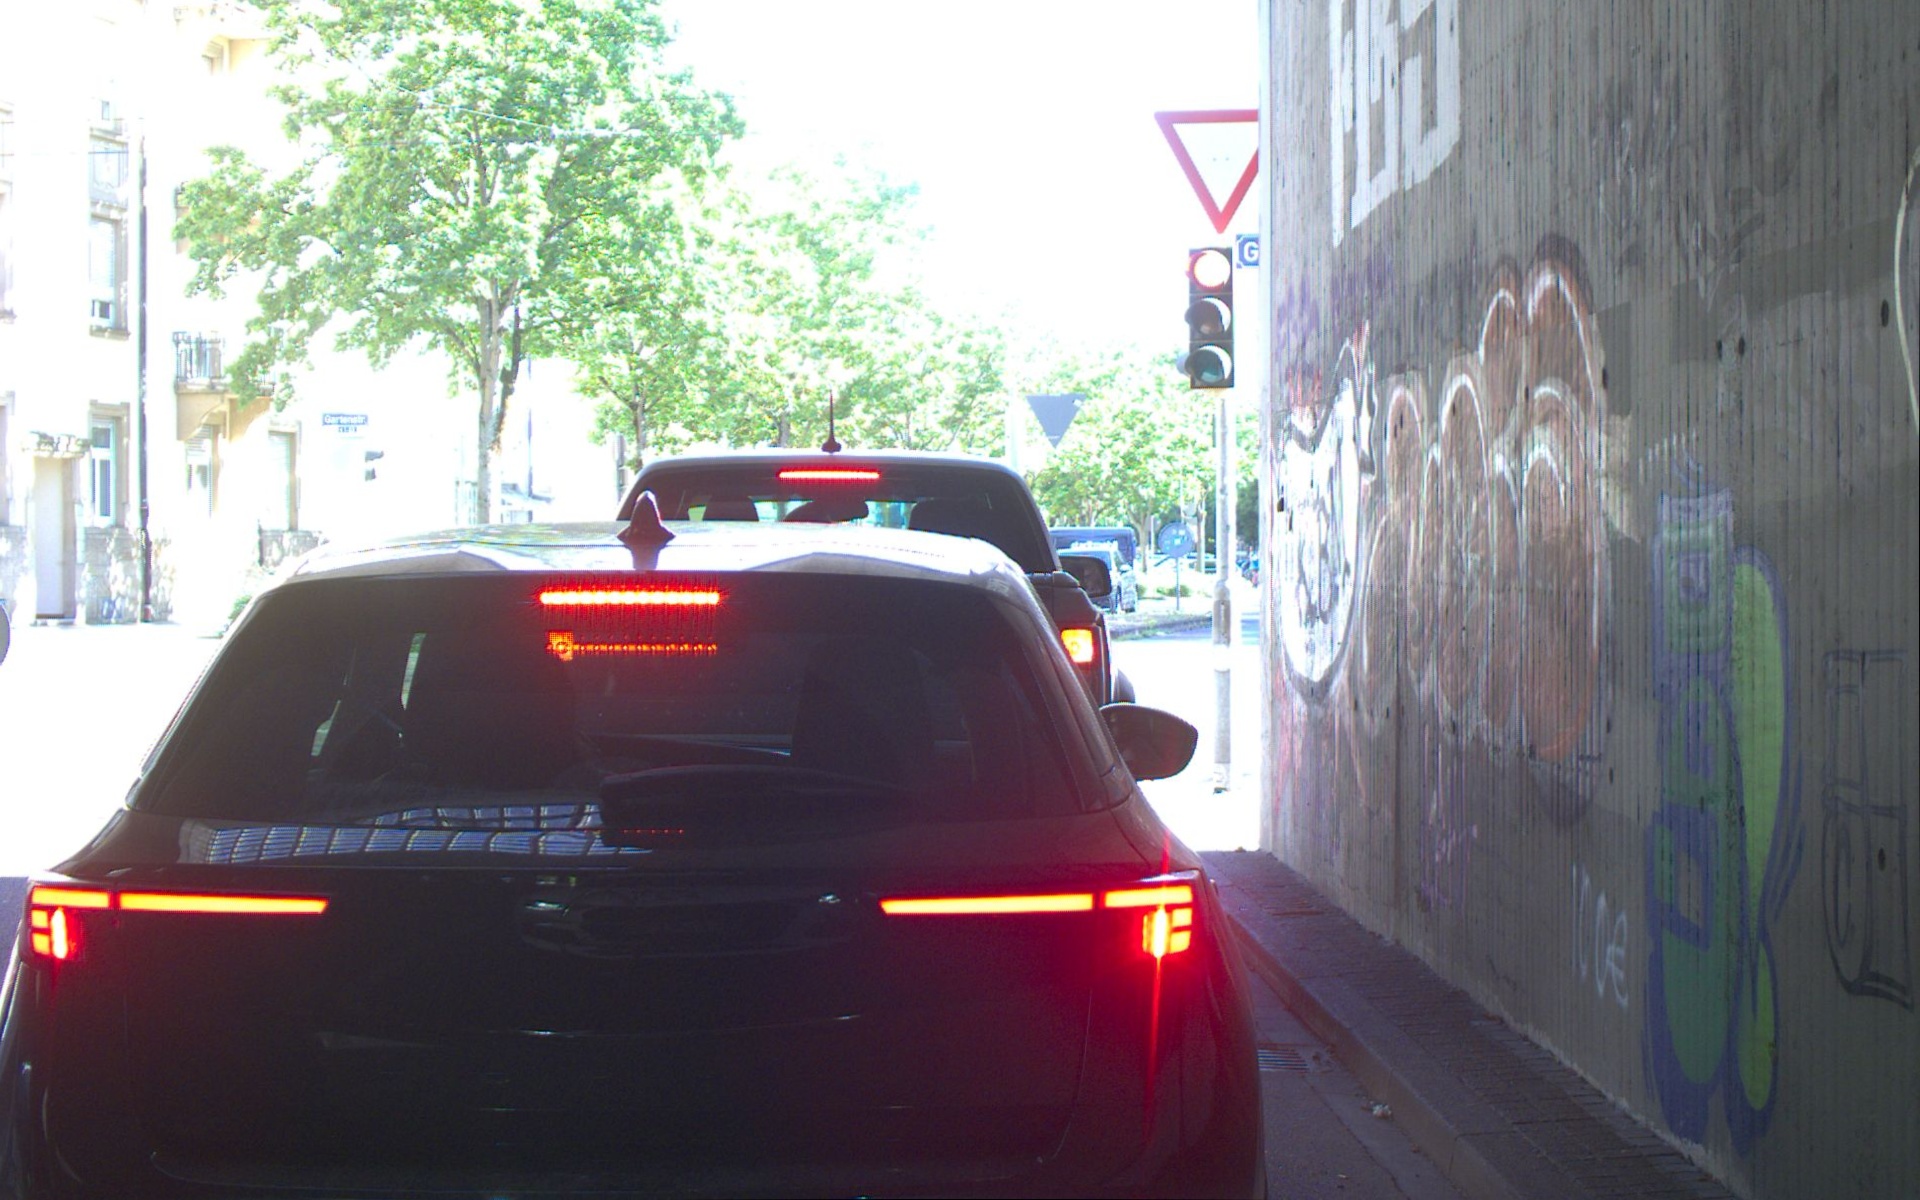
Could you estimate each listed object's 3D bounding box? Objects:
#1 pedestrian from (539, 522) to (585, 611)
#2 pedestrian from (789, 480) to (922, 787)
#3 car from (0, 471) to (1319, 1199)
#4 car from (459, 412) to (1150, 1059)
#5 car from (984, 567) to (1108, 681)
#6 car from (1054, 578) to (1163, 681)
[{"bbox_3d":[-9.421,-0.797,81.370,0.892,2.080,0.808,1,0,7],"label":"pedestrian"},{"bbox_3d":[-0.597,0.186,19.885,0.731,1.728,0.874,1,0,-1],"label":"pedestrian"},{"bbox_3d":[-0.488,0.567,6.111,1.764,1.566,4.001,1,2,-1],"label":"car"},{"bbox_3d":[-0.472,0.354,11.980,1.993,1.865,4.000,0,1,-1],"label":"car"},{"bbox_3d":[1.592,0.399,62.351,1.994,1.963,4.163,1,1,5],"label":"car"},{"bbox_3d":[2.990,0.554,68.431,1.994,1.963,4.163,1,1,5],"label":"car"}]
